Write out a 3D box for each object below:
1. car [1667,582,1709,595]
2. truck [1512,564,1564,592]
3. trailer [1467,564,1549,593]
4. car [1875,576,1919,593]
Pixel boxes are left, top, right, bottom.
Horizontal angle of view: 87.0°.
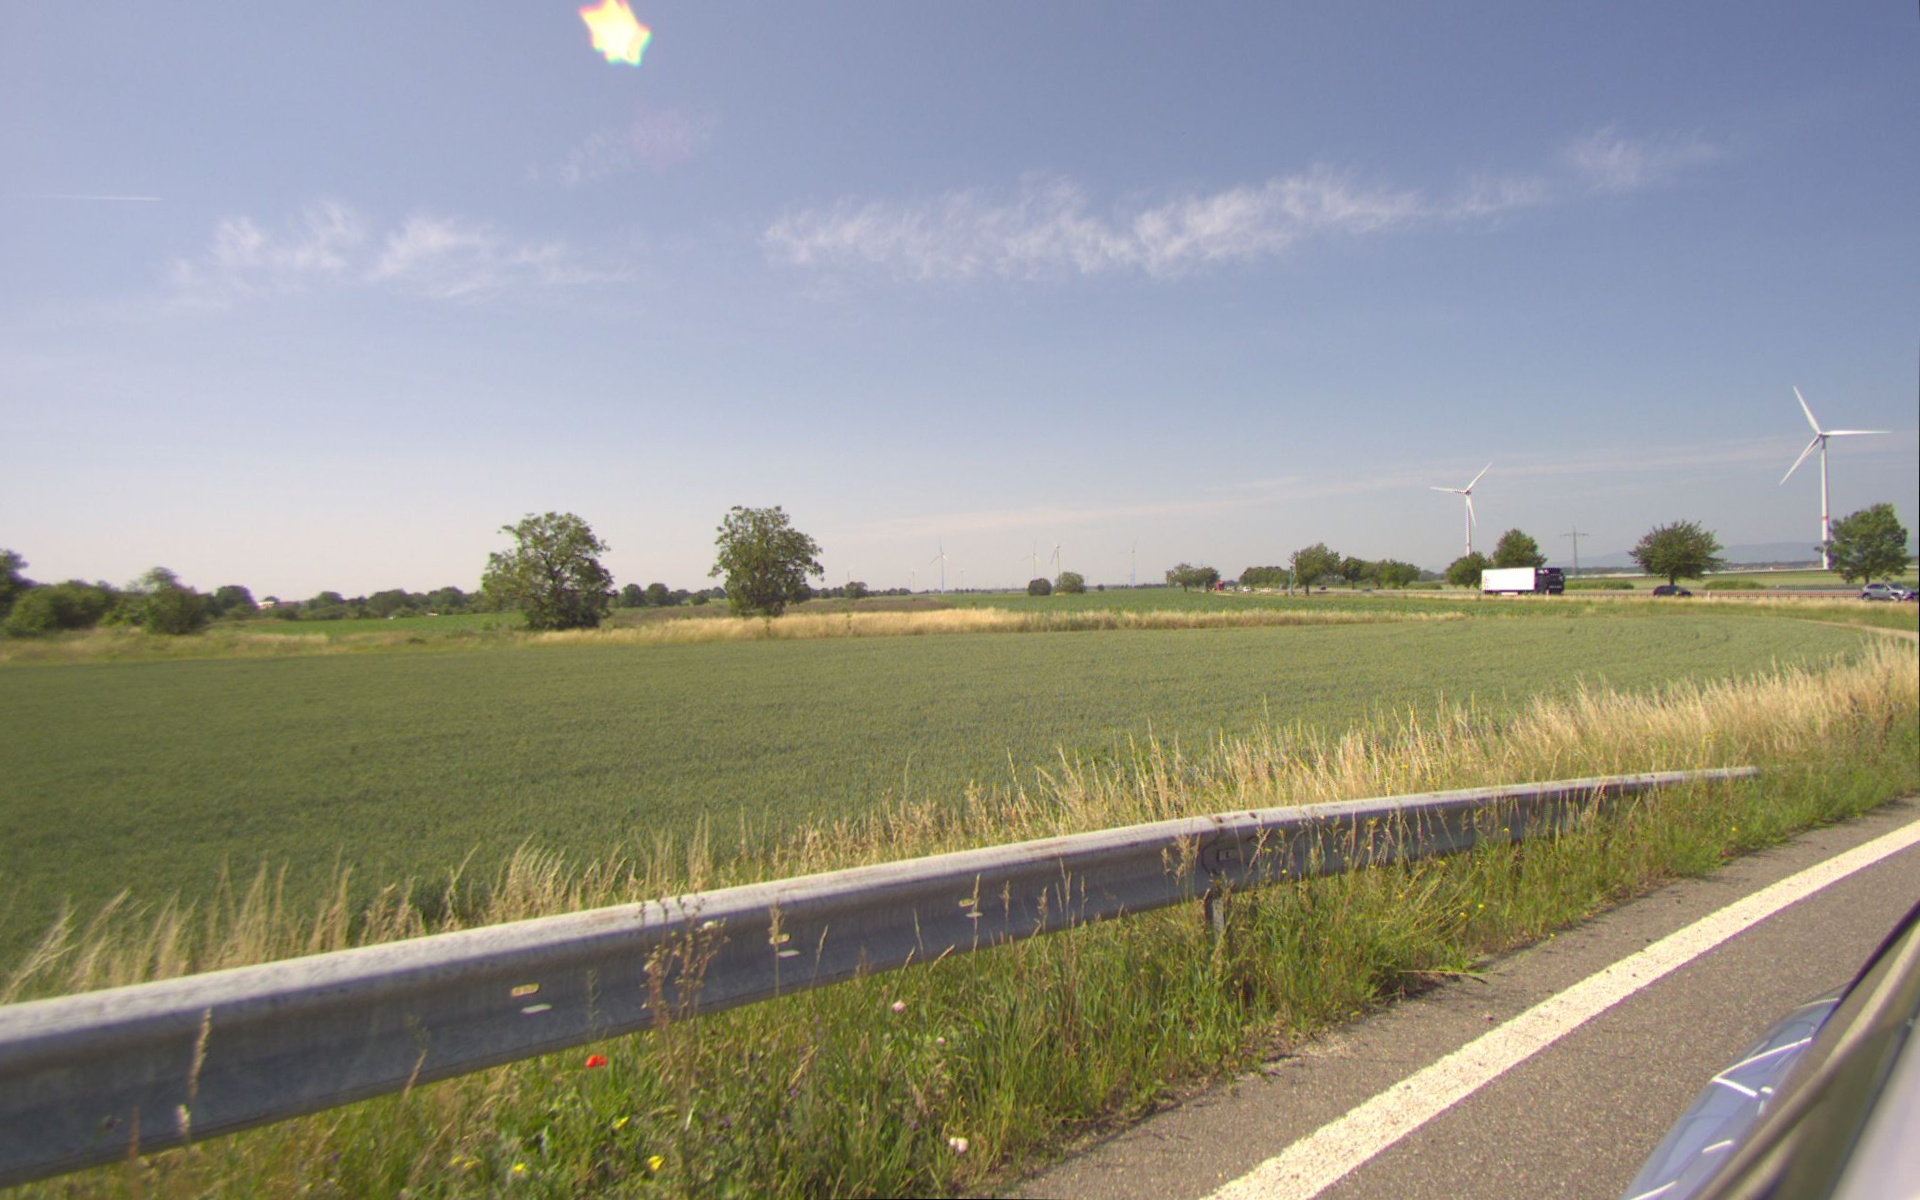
[{"bbox_3d":[79.771,-1.223,110.946,1.650,1.371,3.999,-1,1,1],"label":"car"},{"bbox_3d":[74.731,-2.857,130.979,3.055,3.562,6.239,-1,1,-1],"label":"truck"},{"bbox_3d":[74.578,-2.874,138.370,3.043,3.690,14.518,-1,1,-1],"label":"trailer"},{"bbox_3d":[78.478,-1.281,83.889,1.649,1.371,4.001,-1,1,-1],"label":"car"}]
